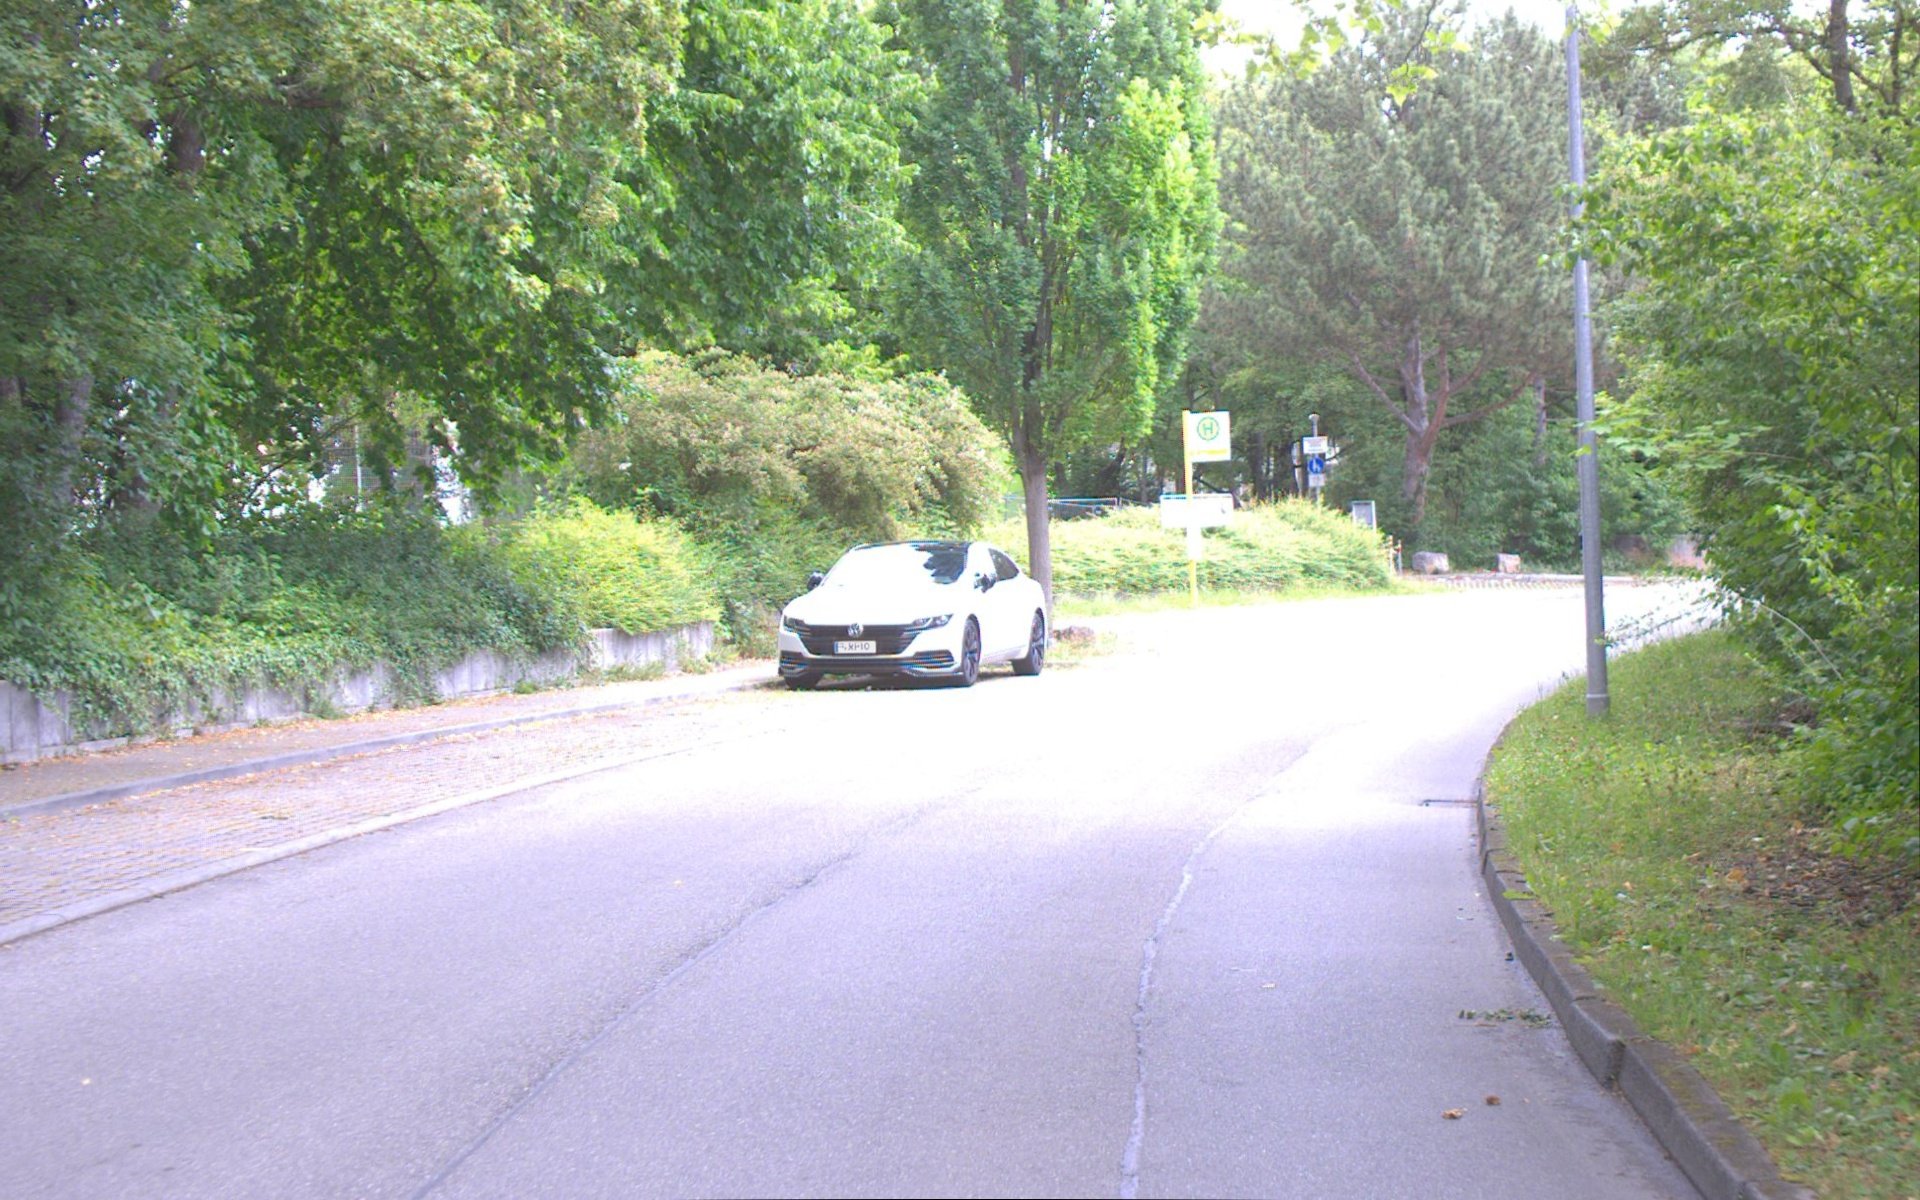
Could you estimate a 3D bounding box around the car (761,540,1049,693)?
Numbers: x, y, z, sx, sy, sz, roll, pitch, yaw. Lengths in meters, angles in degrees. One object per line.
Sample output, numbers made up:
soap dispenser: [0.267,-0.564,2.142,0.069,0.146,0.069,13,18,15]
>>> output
car: [-0.465,0.122,34.182,1.815,1.419,4.358,0,1,14]

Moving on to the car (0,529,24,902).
car: [-4.592,0.491,11.861,1.533,1.454,3.720,-1,1,3]
